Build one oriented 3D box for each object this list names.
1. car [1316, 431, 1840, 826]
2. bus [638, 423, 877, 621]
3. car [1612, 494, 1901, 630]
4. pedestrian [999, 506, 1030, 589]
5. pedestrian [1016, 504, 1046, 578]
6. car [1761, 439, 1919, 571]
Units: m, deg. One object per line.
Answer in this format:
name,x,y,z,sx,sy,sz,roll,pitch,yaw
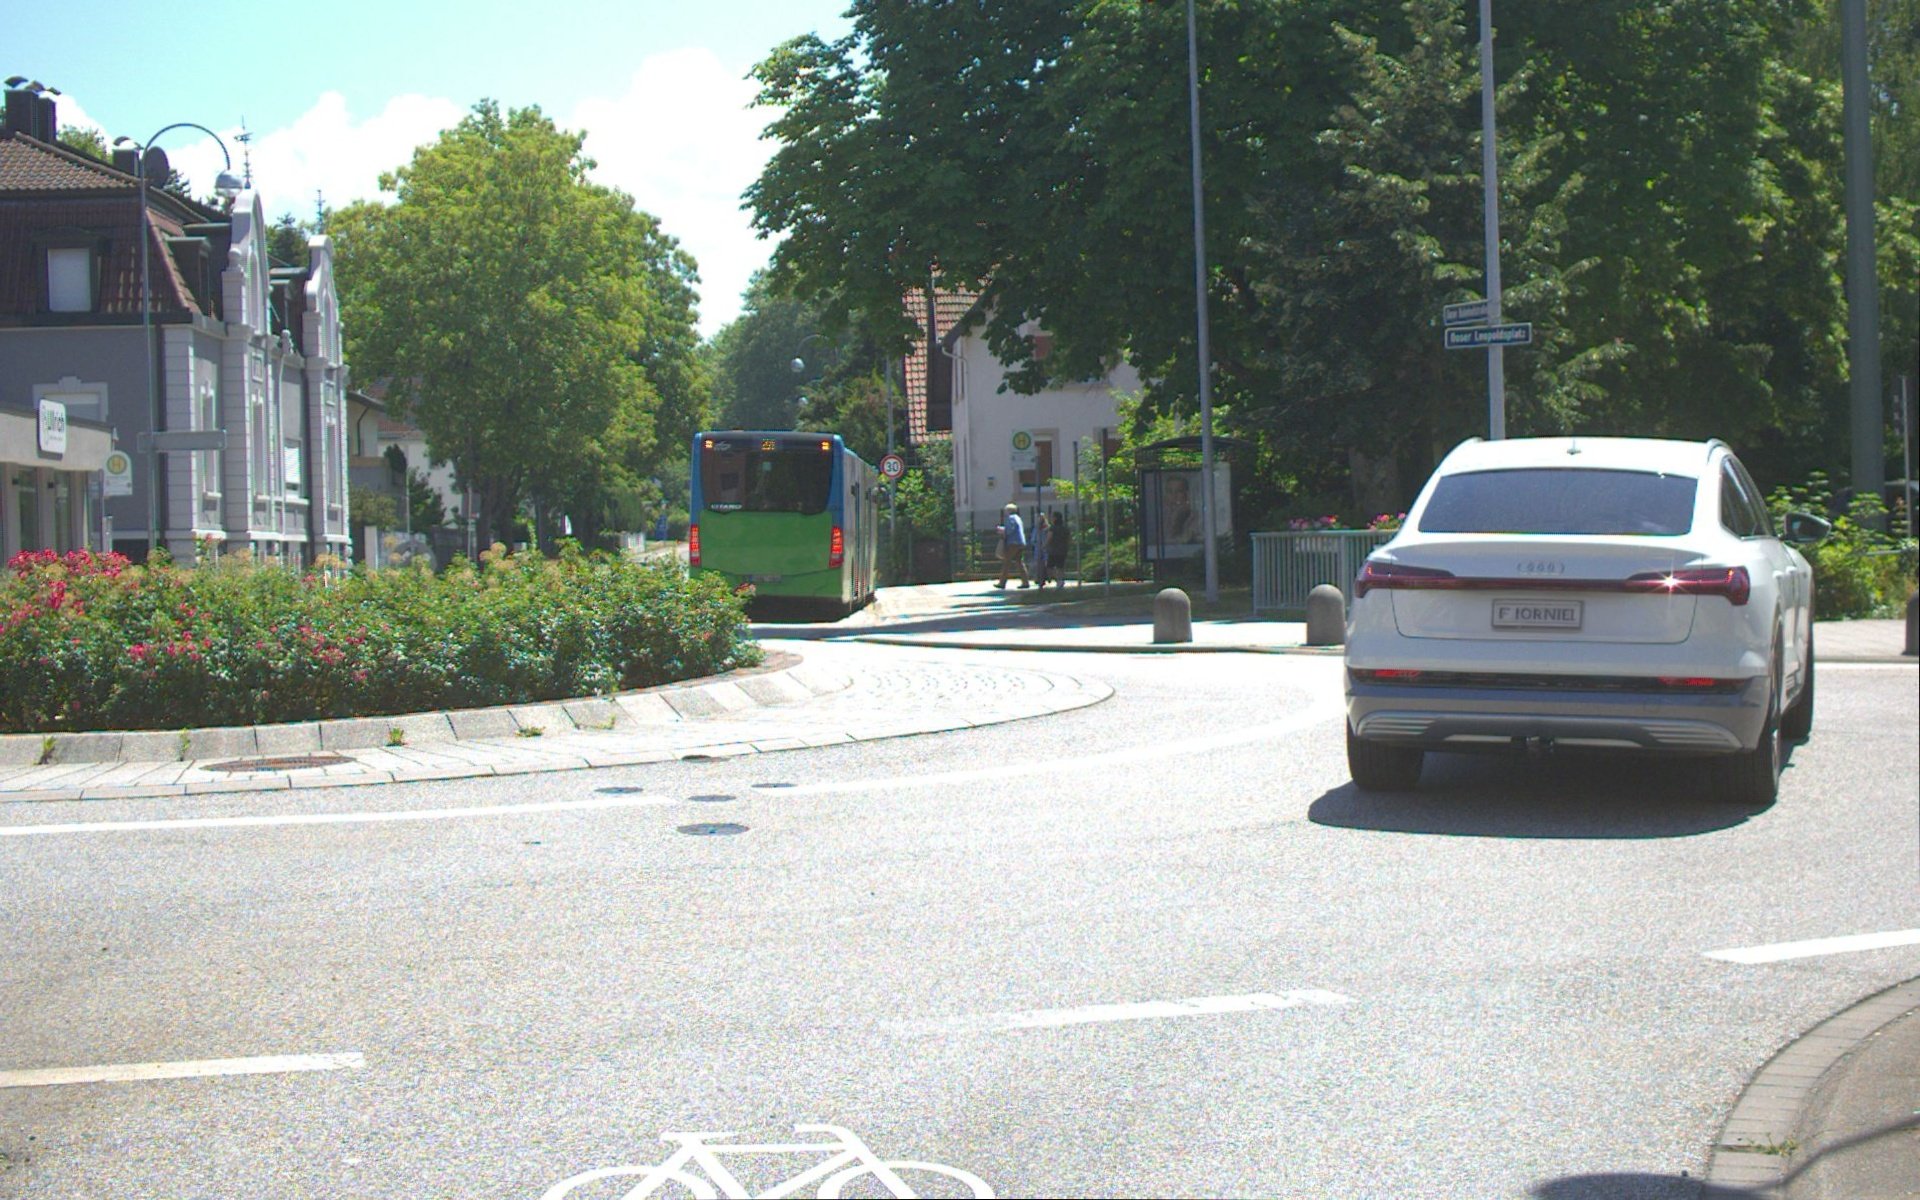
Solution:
car,3.153,0.027,16.803,1.900,1.656,4.406,1,2,18
bus,-3.472,-1.397,64.255,3.706,3.160,18.071,0,1,-1
car,9.912,-0.487,42.849,3.048,1.547,1.635,-2,2,-15
pedestrian,1.091,-1.057,68.767,0.502,1.644,0.580,-2,1,-8
pedestrian,1.455,-1.214,70.748,0.488,1.517,0.543,-2,1,-8
car,14.841,-1.501,53.901,1.995,2.006,3.998,-3,2,-42
